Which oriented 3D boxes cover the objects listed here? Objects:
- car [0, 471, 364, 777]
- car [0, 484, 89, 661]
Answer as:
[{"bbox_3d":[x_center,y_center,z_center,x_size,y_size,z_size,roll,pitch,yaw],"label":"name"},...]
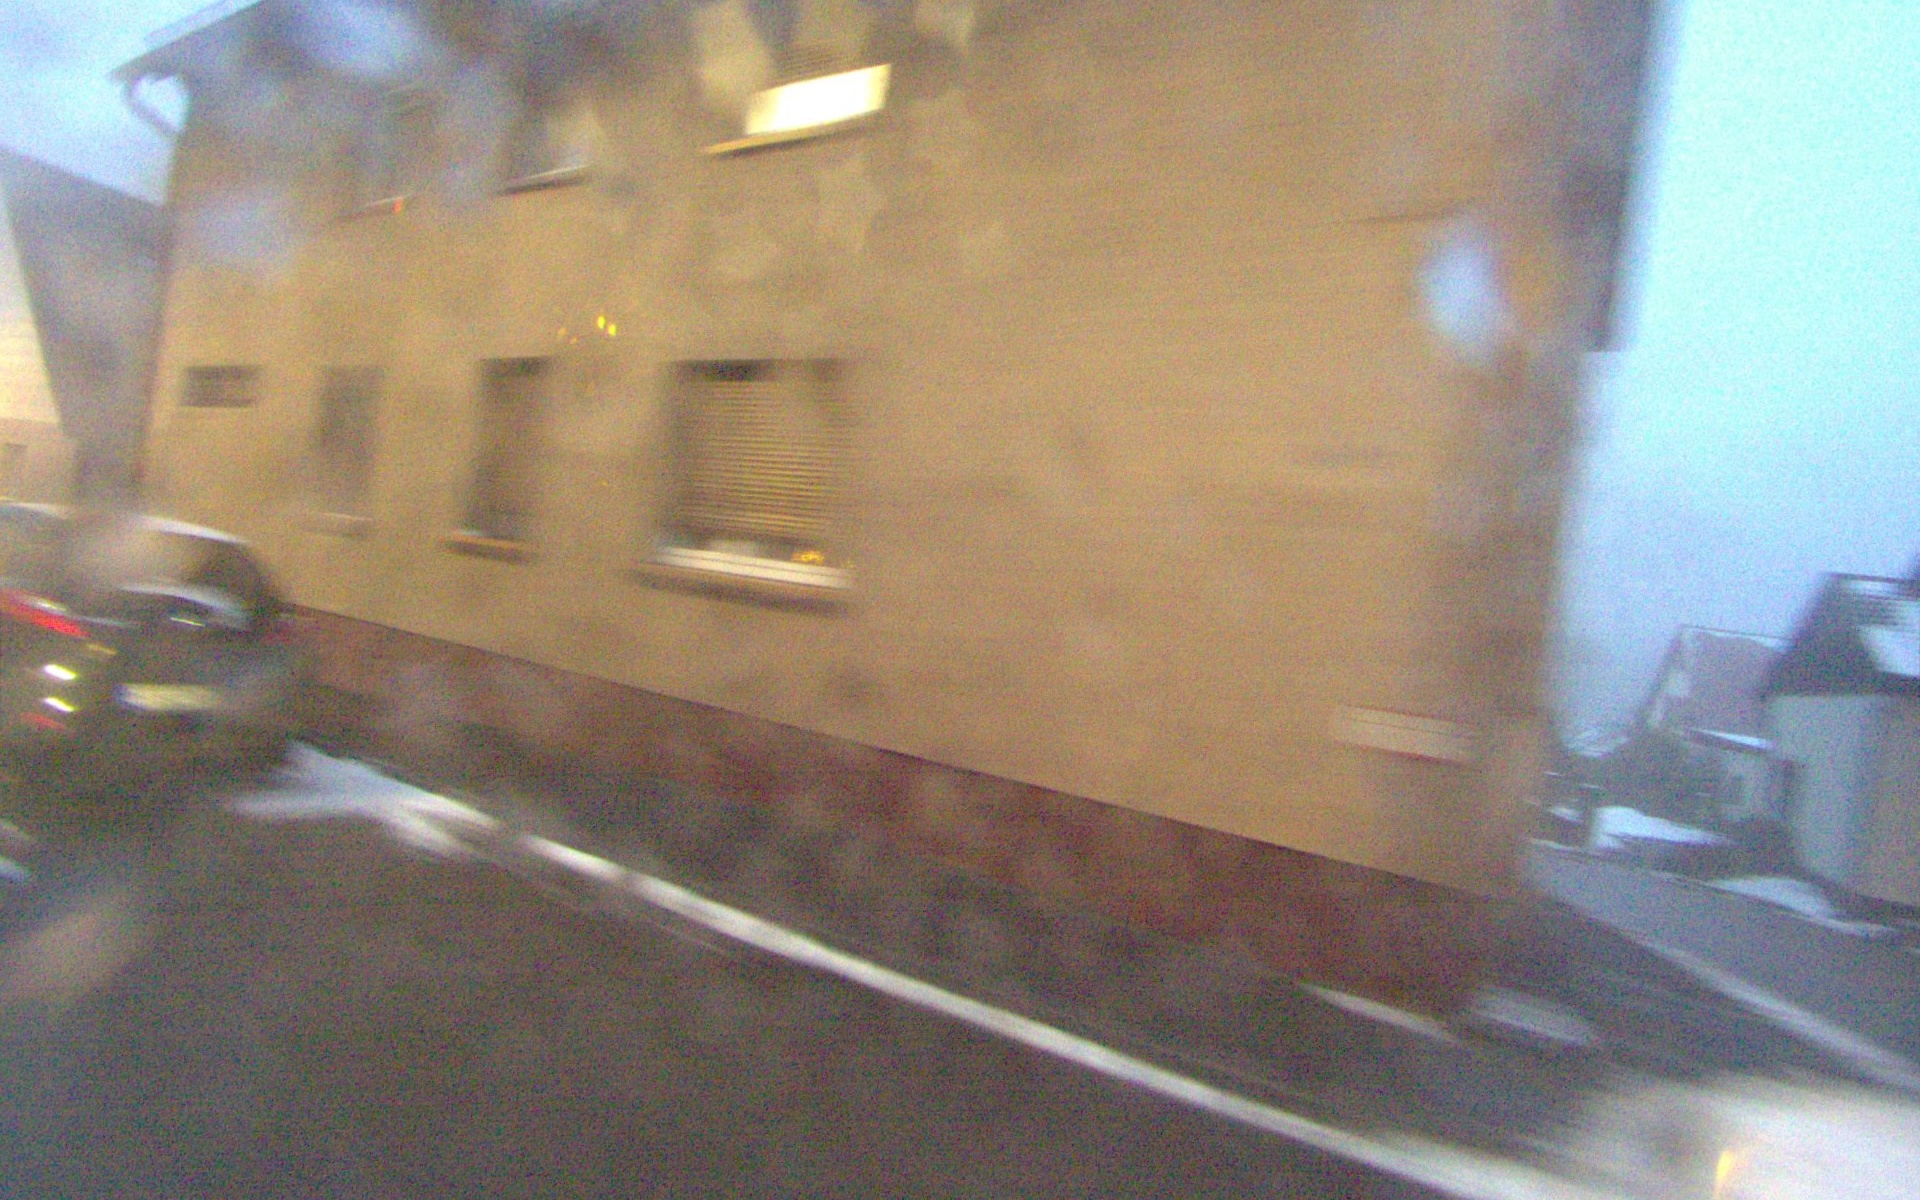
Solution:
[{"bbox_3d":[-5.880,0.099,6.760,3.847,1.516,1.718,5,-4,36],"label":"car"},{"bbox_3d":[-10.271,-0.445,9.595,4.215,1.498,1.912,5,-3,35],"label":"car"}]
